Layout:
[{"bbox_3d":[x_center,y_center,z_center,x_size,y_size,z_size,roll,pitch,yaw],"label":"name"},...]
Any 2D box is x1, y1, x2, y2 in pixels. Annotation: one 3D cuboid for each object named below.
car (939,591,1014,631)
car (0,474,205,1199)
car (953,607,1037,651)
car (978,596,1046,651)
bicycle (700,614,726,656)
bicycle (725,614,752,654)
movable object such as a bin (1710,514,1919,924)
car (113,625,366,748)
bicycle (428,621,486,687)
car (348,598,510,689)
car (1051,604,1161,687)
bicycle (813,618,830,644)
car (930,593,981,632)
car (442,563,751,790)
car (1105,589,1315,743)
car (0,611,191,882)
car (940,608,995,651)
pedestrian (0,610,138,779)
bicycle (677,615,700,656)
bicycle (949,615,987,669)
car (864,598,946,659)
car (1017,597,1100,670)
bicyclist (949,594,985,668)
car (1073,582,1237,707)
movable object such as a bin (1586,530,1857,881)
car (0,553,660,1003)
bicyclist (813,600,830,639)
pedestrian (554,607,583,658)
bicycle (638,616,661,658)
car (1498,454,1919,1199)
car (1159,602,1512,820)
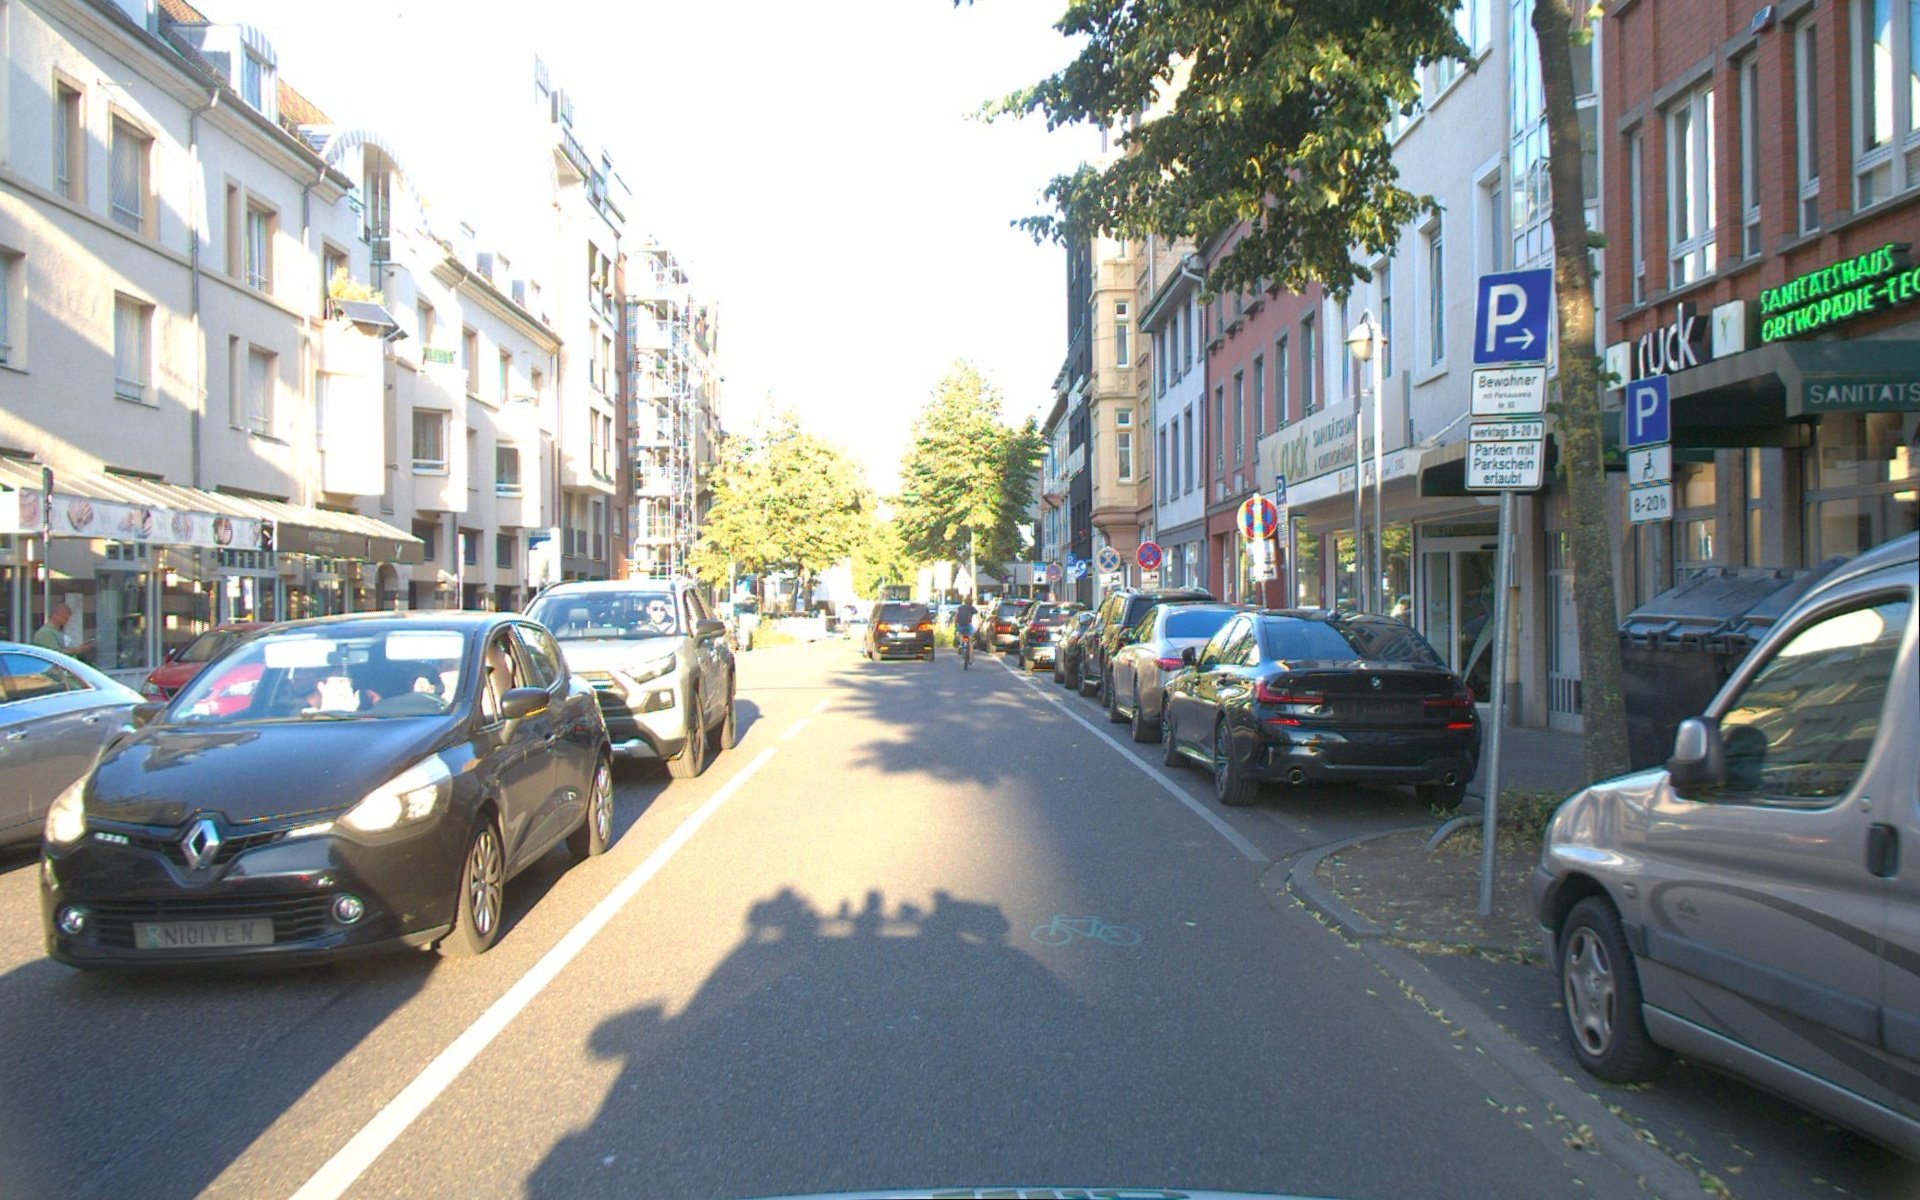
[{"bbox_3d":[0.892,0.592,87.650,3.903,2.049,2.001,-1,0,3],"label":"car"},{"bbox_3d":[-2.489,0.632,1.067,1.906,1.673,4.614,-2,-1,-1],"label":"car"},{"bbox_3d":[1.251,1.054,60.056,2.911,1.563,1.432,1,-1,-5],"label":"car"},{"bbox_3d":[1.679,0.766,54.366,1.789,1.725,4.365,1,-1,-4],"label":"car"},{"bbox_3d":[-8.755,1.233,58.549,0.876,1.420,3.159,0,-1,-9],"label":"bicycle"},{"bbox_3d":[-7.886,1.199,58.706,0.829,1.374,3.179,-1,-1,-9],"label":"bicycle"},{"bbox_3d":[4.306,0.534,7.930,0.818,1.805,1.204,1,-1,-5],"label":"movable object such as a bin"},{"bbox_3d":[-9.144,1.043,21.328,1.627,1.427,3.882,1,-1,-2],"label":"car"},{"bbox_3d":[-11.073,1.172,36.460,0.598,1.399,2.358,1,-1,-2],"label":"bicycle"},{"bbox_3d":[-9.260,0.751,29.144,1.676,1.479,3.724,1,-1,-1],"label":"car"},{"bbox_3d":[2.806,0.876,32.556,1.726,1.510,4.306,1,-1,-1],"label":"car"},{"bbox_3d":[-6.681,1.502,79.841,0.765,1.225,2.019,-1,-1,-3],"label":"bicycle"},{"bbox_3d":[-0.274,0.681,87.345,2.221,1.797,4.505,5,-1,-4],"label":"car"},{"bbox_3d":[-3.080,0.621,15.026,1.902,1.673,4.736,-2,-1,-2],"label":"car"},{"bbox_3d":[2.780,0.715,19.463,1.774,1.554,4.993,0,-1,1],"label":"car"},{"bbox_3d":[-6.450,0.889,9.500,1.953,1.538,4.508,-3,-1,-1],"label":"car"},{"bbox_3d":[0.275,1.224,68.965,1.954,1.697,4.505,1,-1,-4],"label":"car"},{"bbox_3d":[-9.647,0.991,17.909,0.889,1.705,0.989,1,3,36],"label":"pedestrian"},{"bbox_3d":[-9.584,1.239,58.391,0.766,1.397,3.135,1,-1,-9],"label":"bicycle"},{"bbox_3d":[0.174,1.001,39.816,0.765,1.225,2.019,-1,-1,-3],"label":"bicycle"},{"bbox_3d":[-1.616,0.801,46.966,1.955,1.630,4.502,1,-1,-7],"label":"car"},{"bbox_3d":[2.387,0.812,40.979,1.775,1.697,4.205,1,-1,-1],"label":"car"},{"bbox_3d":[0.159,0.744,39.855,0.765,1.726,1.006,-1,-1,-4],"label":"bicyclist"},{"bbox_3d":[2.988,0.674,26.333,1.845,1.785,5.056,1,-1,-2],"label":"car"},{"bbox_3d":[4.196,0.554,9.226,0.818,1.805,1.352,1,-1,-5],"label":"movable object such as a bin"},{"bbox_3d":[-2.739,0.677,8.231,1.688,1.577,4.464,-2,-1,-1],"label":"car"},{"bbox_3d":[-6.694,0.959,79.886,0.765,1.861,1.006,-1,-1,-4],"label":"bicyclist"},{"bbox_3d":[-12.874,1.058,54.397,0.701,1.670,0.855,0,-1,3],"label":"pedestrian"},{"bbox_3d":[-10.915,1.281,58.131,0.708,1.420,3.146,1,-1,-9],"label":"bicycle"},{"bbox_3d":[2.886,0.591,4.010,1.622,1.809,4.008,1,0,-4],"label":"car"},{"bbox_3d":[2.817,0.758,13.448,1.717,1.445,4.508,1,0,-2],"label":"car"}]
